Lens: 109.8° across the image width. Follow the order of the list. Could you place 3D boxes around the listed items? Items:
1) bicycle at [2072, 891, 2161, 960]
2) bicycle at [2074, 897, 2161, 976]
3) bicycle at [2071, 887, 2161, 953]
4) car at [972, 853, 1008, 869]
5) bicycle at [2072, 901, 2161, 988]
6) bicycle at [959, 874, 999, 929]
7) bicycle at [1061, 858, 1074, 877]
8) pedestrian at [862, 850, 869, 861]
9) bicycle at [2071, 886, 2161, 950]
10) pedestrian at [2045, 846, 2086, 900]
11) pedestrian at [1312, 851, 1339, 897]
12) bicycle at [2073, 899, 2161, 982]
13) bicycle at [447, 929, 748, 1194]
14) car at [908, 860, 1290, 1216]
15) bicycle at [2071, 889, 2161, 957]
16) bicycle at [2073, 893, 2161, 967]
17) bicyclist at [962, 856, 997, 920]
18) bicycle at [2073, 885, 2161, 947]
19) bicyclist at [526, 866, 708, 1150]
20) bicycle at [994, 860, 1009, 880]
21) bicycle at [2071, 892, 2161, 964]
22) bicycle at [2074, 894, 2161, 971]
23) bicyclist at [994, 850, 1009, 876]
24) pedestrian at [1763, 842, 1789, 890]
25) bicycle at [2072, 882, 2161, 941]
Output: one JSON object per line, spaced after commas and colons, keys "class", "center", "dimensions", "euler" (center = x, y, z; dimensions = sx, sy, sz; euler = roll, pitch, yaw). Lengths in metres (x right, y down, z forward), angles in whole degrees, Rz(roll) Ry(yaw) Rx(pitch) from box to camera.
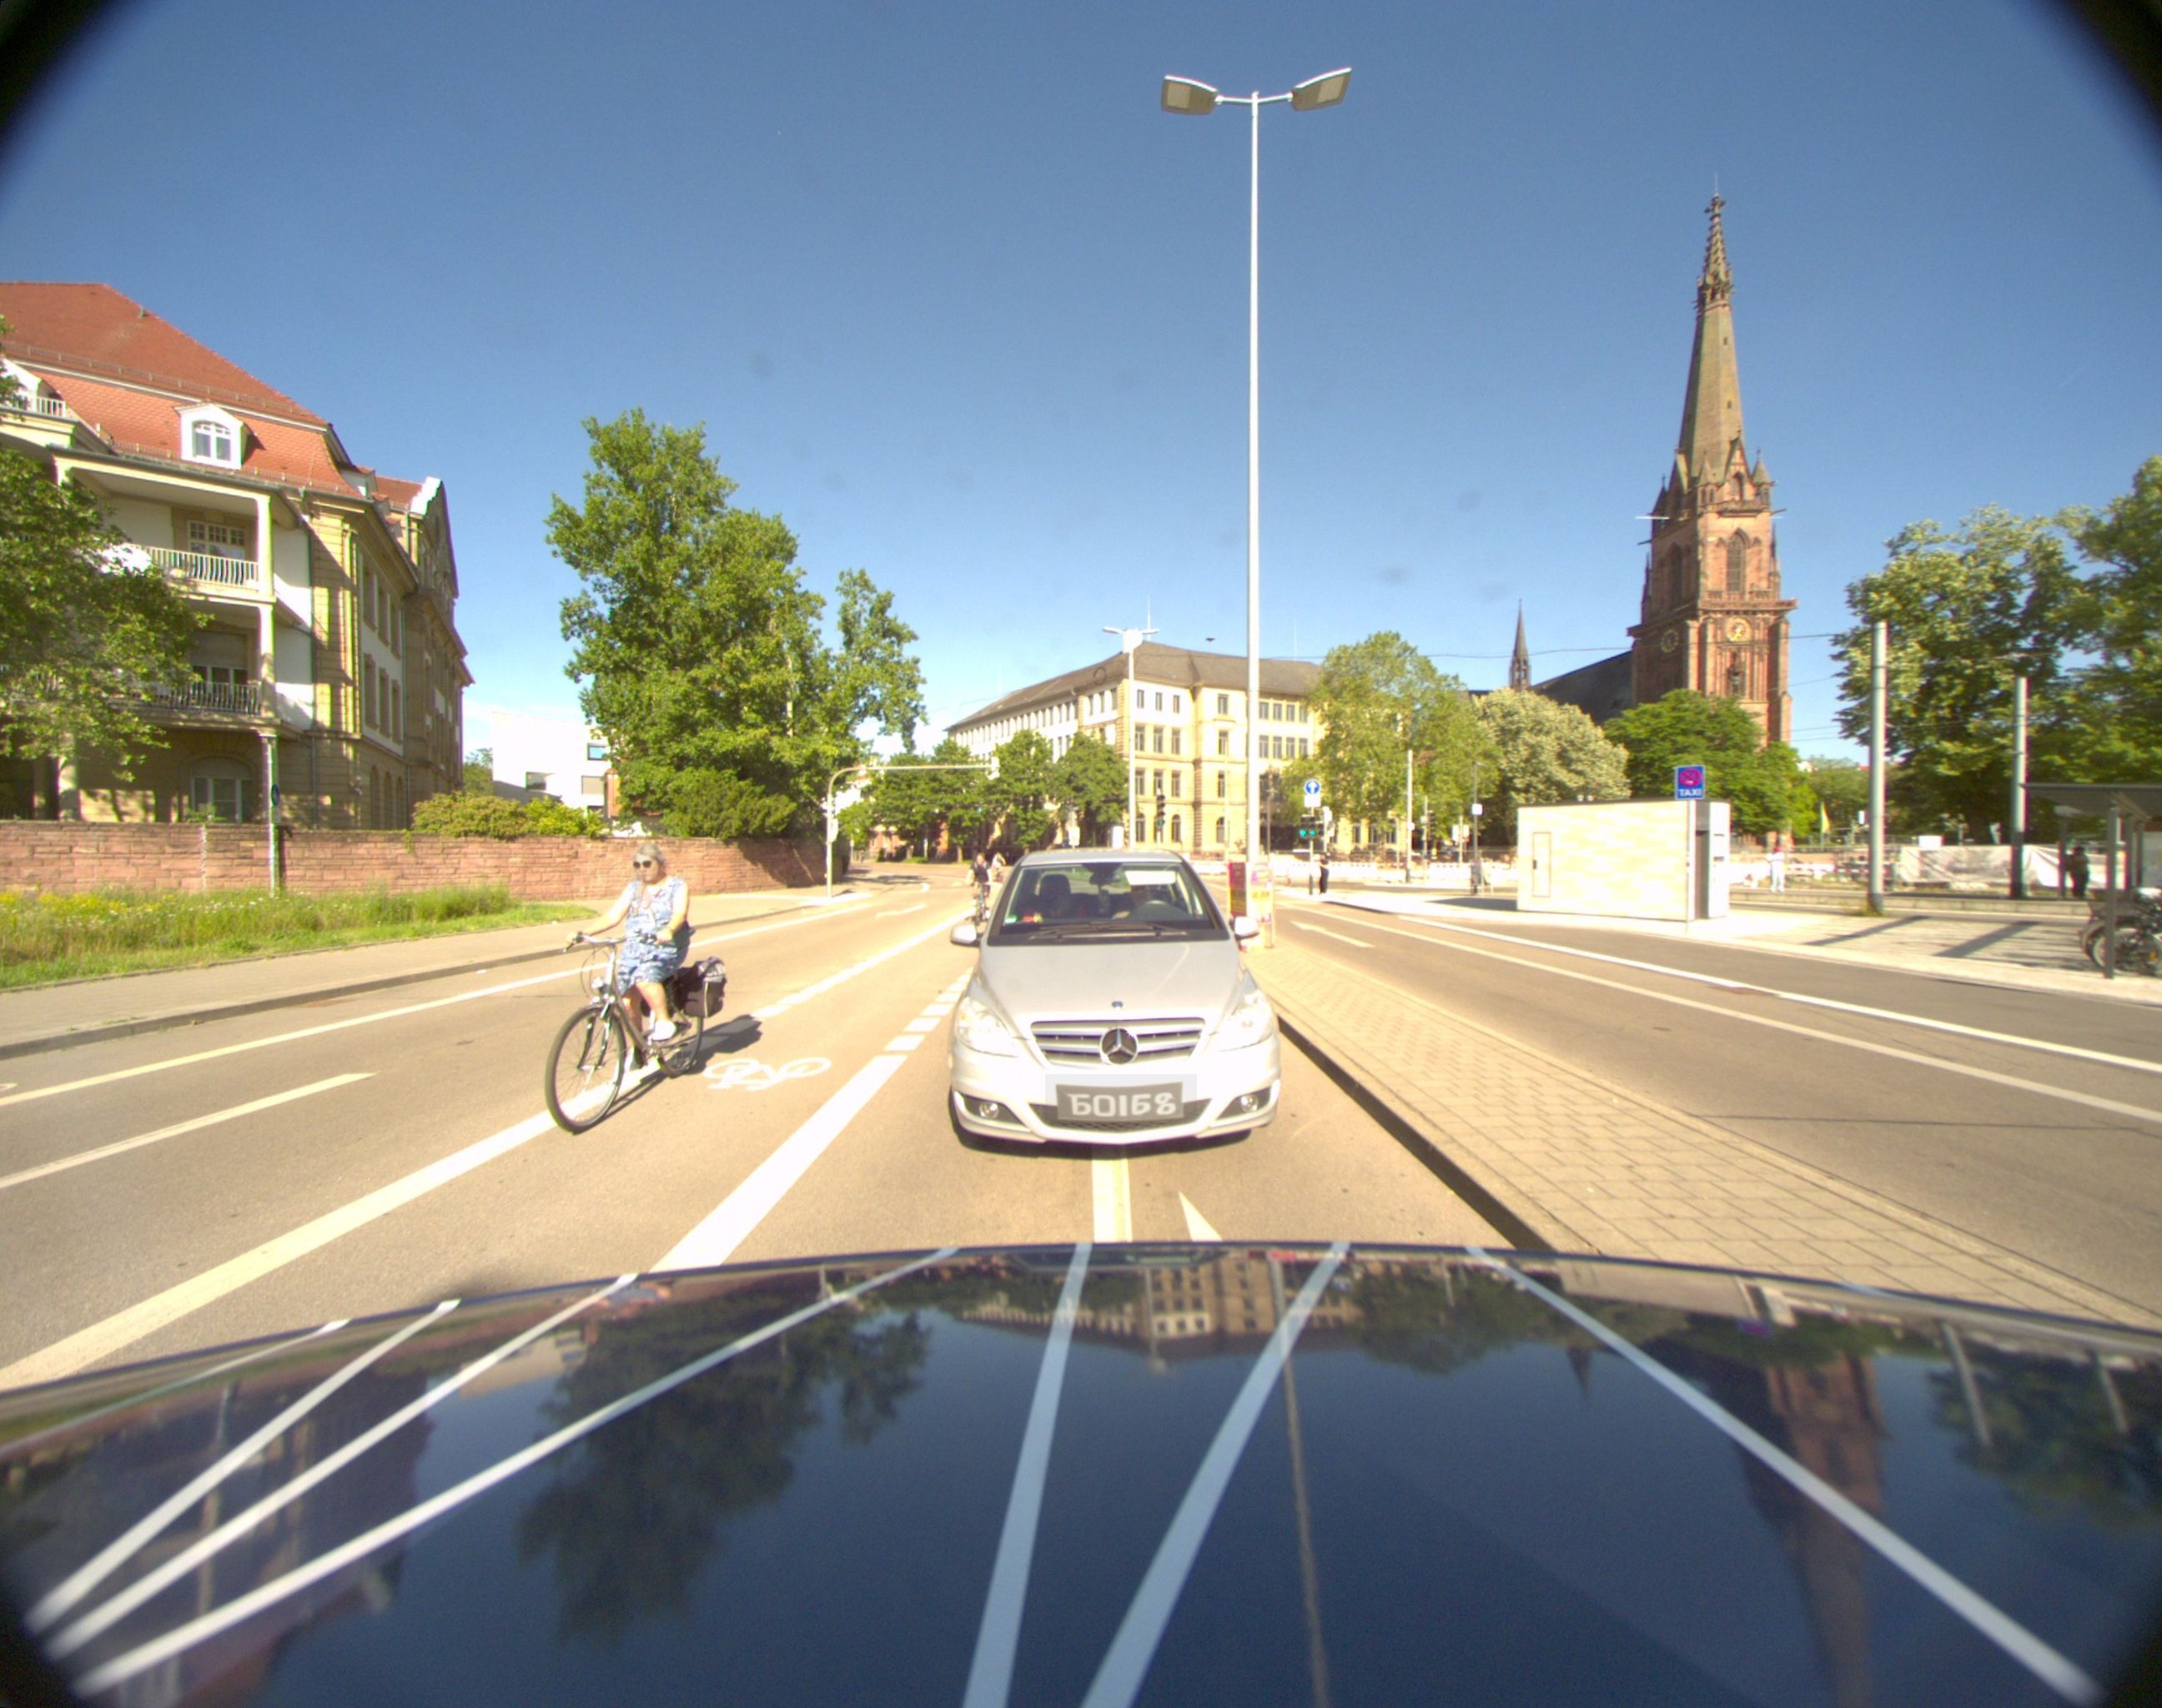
{"class": "bicycle", "center": [17.163, 1.154, 12.018], "dimensions": [0.569, 1.032, 1.783], "euler": [1, 1, -37]}
{"class": "bicycle", "center": [15.142, 1.166, 10.447], "dimensions": [0.569, 1.032, 1.783], "euler": [1, 1, -37]}
{"class": "bicycle", "center": [18.162, 1.131, 12.796], "dimensions": [0.569, 1.032, 1.783], "euler": [1, 1, -37]}
{"class": "car", "center": [-10.822, 0.837, 90.494], "dimensions": [1.994, 1.805, 3.809], "euler": [1, 1, 44]}
{"class": "bicycle", "center": [14.013, 1.182, 9.598], "dimensions": [0.569, 1.032, 1.783], "euler": [1, 1, -37]}
{"class": "bicycle", "center": [-2.365, 1.090, 17.826], "dimensions": [0.642, 1.158, 1.870], "euler": [-1, 0, 1]}
{"class": "bicycle", "center": [-0.857, 0.855, 48.291], "dimensions": [0.778, 1.158, 1.968], "euler": [-1, 1, 1]}
{"class": "pedestrian", "center": [-31.458, 0.191, 110.749], "dimensions": [0.637, 1.602, 0.844], "euler": [-3, 1, -39]}
{"class": "bicycle", "center": [18.646, 1.120, 13.158], "dimensions": [0.569, 1.032, 1.783], "euler": [1, 1, -37]}
{"class": "pedestrian", "center": [30.581, 0.585, 23.608], "dimensions": [0.567, 1.645, 0.518], "euler": [-2, 1, 1]}
{"class": "pedestrian", "center": [9.273, 0.754, 28.879], "dimensions": [0.789, 1.671, 0.648], "euler": [-2, 1, 2]}
{"class": "bicycle", "center": [14.538, 1.172, 9.988], "dimensions": [0.569, 1.032, 1.783], "euler": [1, 1, -37]}
{"class": "bicycle", "center": [-2.928, 1.170, 4.909], "dimensions": [0.642, 1.158, 1.968], "euler": [-1, 1, 1]}
{"class": "car", "center": [0.134, 0.888, 5.879], "dimensions": [1.770, 1.584, 4.638], "euler": [-1, 1, 1]}
{"class": "bicycle", "center": [17.689, 1.143, 12.430], "dimensions": [0.569, 1.032, 1.783], "euler": [1, 1, -37]}
{"class": "bicycle", "center": [16.193, 1.153, 11.252], "dimensions": [0.569, 1.032, 1.783], "euler": [1, 1, -37]}
{"class": "bicyclist", "center": [-2.366, 0.774, 17.823], "dimensions": [0.643, 1.436, 0.953], "euler": [-1, 0, 1]}
{"class": "bicycle", "center": [19.131, 1.109, 13.503], "dimensions": [0.569, 1.032, 1.783], "euler": [1, 1, -37]}
{"class": "bicyclist", "center": [-2.927, 0.921, 4.876], "dimensions": [0.643, 1.653, 0.776], "euler": [-1, 2, 0]}
{"class": "bicycle", "center": [-4.829, 0.954, 46.230], "dimensions": [0.778, 1.158, 1.967], "euler": [-1, 1, -3]}
{"class": "bicycle", "center": [16.671, 1.163, 11.644], "dimensions": [0.569, 1.032, 1.783], "euler": [1, 1, -37]}
{"class": "bicycle", "center": [15.695, 1.154, 10.860], "dimensions": [0.569, 1.032, 1.783], "euler": [1, 1, -37]}
{"class": "bicyclist", "center": [-4.830, 0.535, 46.203], "dimensions": [0.779, 1.543, 0.919], "euler": [-1, 1, -3]}
{"class": "pedestrian", "center": [25.068, 0.447, 27.420], "dimensions": [0.537, 1.712, 0.684], "euler": [-1, -4, 31]}
{"class": "bicycle", "center": [20.120, 1.098, 14.279], "dimensions": [0.569, 1.032, 1.783], "euler": [1, 1, -37]}
